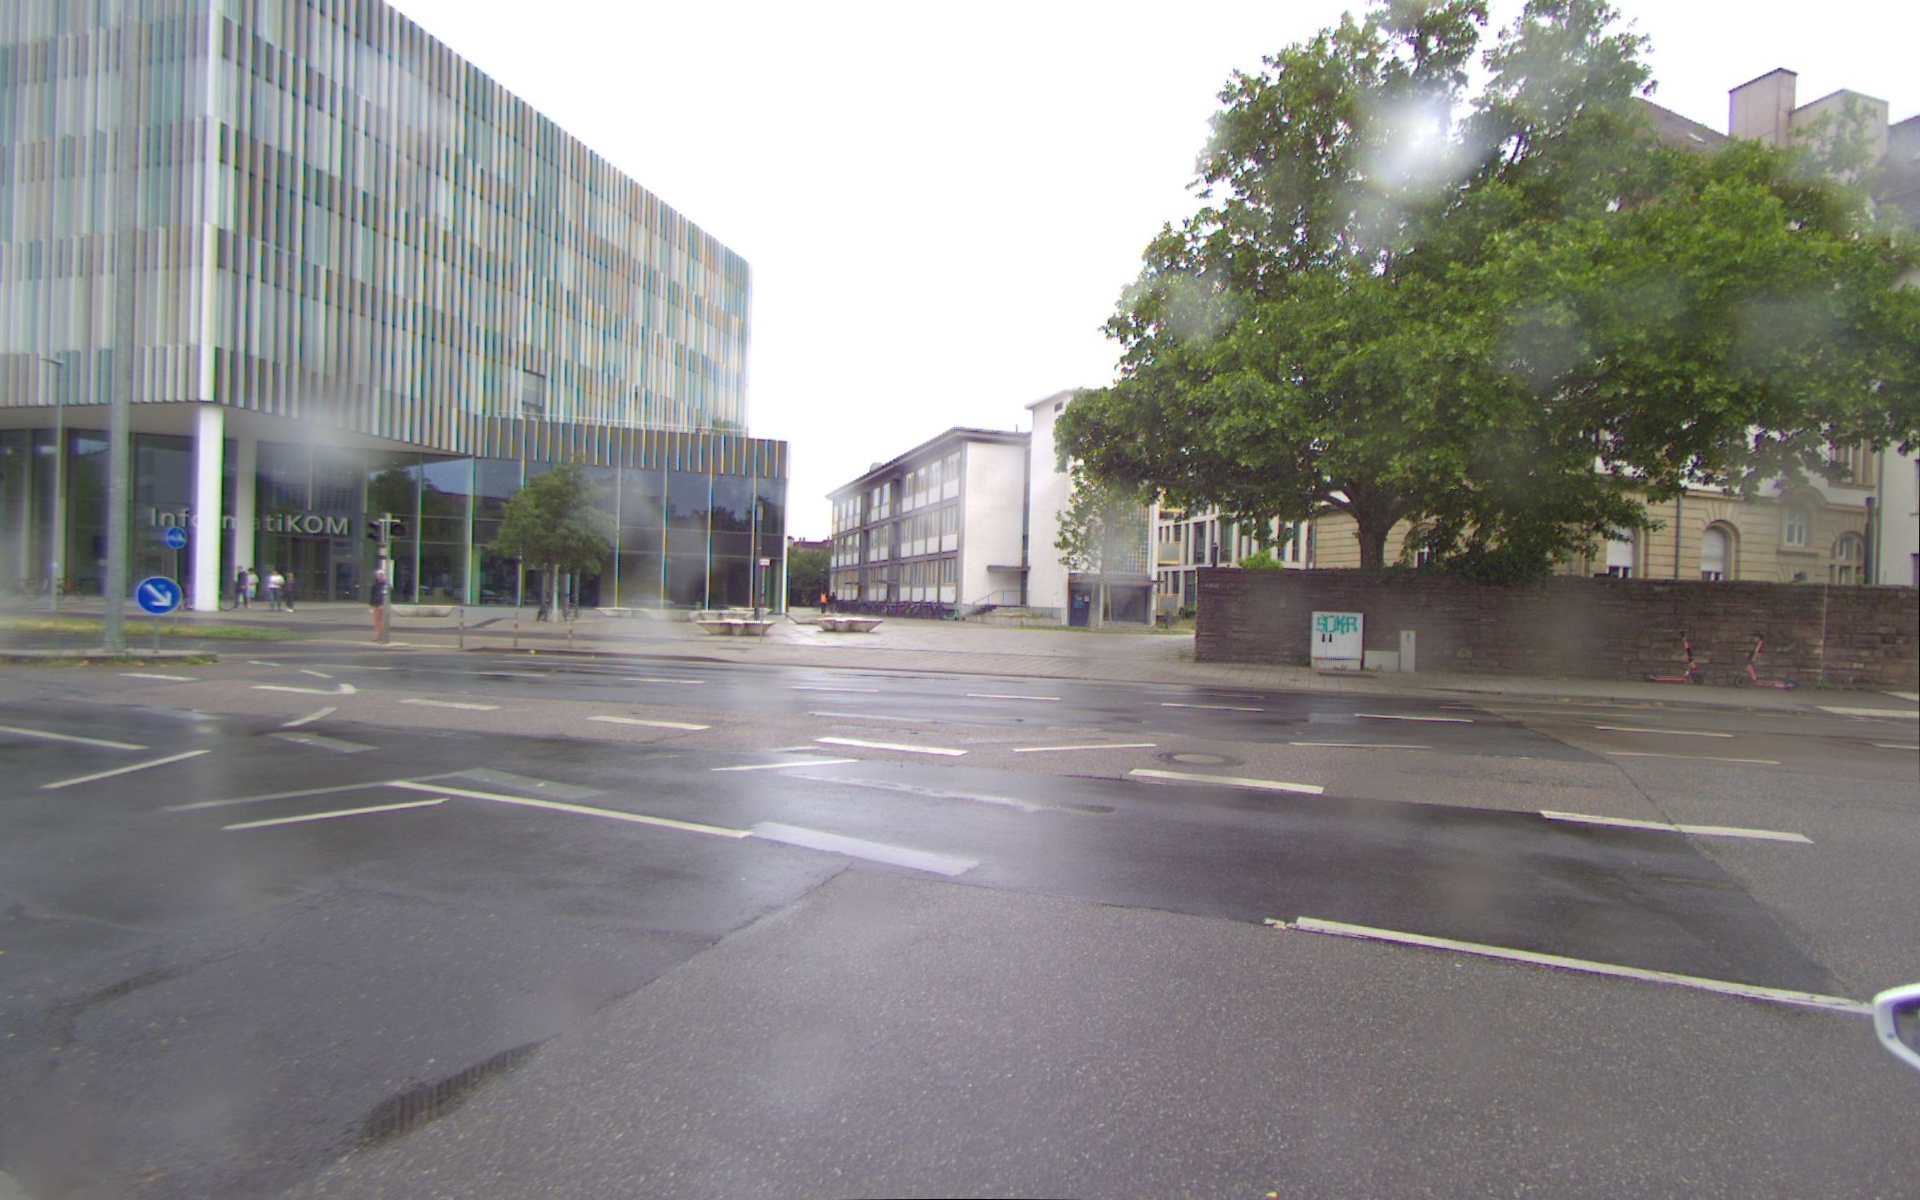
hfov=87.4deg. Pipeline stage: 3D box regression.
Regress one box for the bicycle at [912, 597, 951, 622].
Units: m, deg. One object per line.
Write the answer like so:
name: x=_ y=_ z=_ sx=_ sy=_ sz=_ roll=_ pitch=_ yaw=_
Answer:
bicycle: x=-1.697 y=0.573 z=60.263 sx=2.226 sy=1.384 sz=0.764 roll=2 pitch=0 yaw=-13

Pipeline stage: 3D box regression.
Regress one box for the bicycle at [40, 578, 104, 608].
bicycle: x=-38.925 y=-0.296 z=44.084 sx=0.587 sy=1.238 sz=2.287 roll=2 pitch=0 yaw=6

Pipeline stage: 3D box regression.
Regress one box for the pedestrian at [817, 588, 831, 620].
pedestrian: x=-8.890 y=0.244 z=65.638 sx=0.889 sy=2.040 sz=0.844 roll=2 pitch=0 yaw=-9

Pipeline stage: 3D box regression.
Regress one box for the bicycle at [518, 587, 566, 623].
bicycle: x=-15.234 y=0.190 z=36.672 sx=0.587 sy=1.238 sz=2.287 roll=2 pitch=0 yaw=6

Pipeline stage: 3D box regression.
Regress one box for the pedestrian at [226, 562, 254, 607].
pedestrian: x=-30.179 y=-0.646 z=42.119 sx=0.613 sy=1.848 sz=0.786 roll=2 pitch=0 yaw=-5

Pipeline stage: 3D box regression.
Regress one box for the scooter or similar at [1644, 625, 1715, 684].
scooter or similar: x=15.860 y=1.190 z=22.168 sx=1.119 sy=1.214 sz=0.392 roll=2 pitch=7 yaw=14

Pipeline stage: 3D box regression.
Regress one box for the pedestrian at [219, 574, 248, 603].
pedestrian: x=-29.751 y=-0.481 z=41.138 sx=0.771 sy=1.168 sz=0.625 roll=2 pitch=0 yaw=21

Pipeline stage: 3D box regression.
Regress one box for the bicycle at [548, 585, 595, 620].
bicycle: x=-14.189 y=0.103 z=36.767 sx=0.587 sy=1.238 sz=2.287 roll=2 pitch=0 yaw=6

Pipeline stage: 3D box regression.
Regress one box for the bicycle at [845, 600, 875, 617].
bicycle: x=-7.844 y=0.662 z=78.537 sx=2.226 sy=1.183 sz=0.764 roll=2 pitch=0 yaw=-13

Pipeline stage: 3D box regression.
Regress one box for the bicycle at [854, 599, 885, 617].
bicycle: x=-6.884 y=0.606 z=76.089 sx=2.226 sy=1.329 sz=0.764 roll=2 pitch=0 yaw=-13

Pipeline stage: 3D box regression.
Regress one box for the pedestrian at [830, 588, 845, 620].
pedestrian: x=-8.002 y=0.272 z=65.781 sx=0.889 sy=2.040 sz=0.844 roll=2 pitch=0 yaw=-9

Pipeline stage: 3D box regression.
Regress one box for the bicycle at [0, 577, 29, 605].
bicycle: x=-42.176 y=-0.395 z=43.942 sx=0.587 sy=1.238 sz=2.287 roll=2 pitch=0 yaw=6

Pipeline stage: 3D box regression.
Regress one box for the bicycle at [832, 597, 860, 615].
bicycle: x=-9.700 y=0.520 z=85.292 sx=2.226 sy=1.420 sz=0.764 roll=2 pitch=0 yaw=-13

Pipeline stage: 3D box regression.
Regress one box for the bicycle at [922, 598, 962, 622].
bicycle: x=-1.065 y=0.587 z=59.126 sx=2.226 sy=1.384 sz=0.764 roll=2 pitch=0 yaw=-13

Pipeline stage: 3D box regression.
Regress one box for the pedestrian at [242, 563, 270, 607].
pedestrian: x=-30.279 y=-0.644 z=43.216 sx=0.613 sy=1.848 sz=0.786 roll=2 pitch=0 yaw=-5

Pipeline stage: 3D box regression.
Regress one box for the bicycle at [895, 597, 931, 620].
bicycle: x=-3.003 y=0.553 z=64.190 sx=2.226 sy=1.384 sz=0.764 roll=2 pitch=0 yaw=-13

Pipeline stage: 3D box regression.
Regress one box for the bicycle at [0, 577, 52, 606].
bicycle: x=-41.071 y=-0.362 z=43.873 sx=0.587 sy=1.238 sz=2.287 roll=2 pitch=0 yaw=6

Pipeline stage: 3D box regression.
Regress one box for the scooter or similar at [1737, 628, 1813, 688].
scooter or similar: x=17.556 y=1.244 z=21.661 sx=1.119 sy=1.214 sz=0.392 roll=2 pitch=7 yaw=12

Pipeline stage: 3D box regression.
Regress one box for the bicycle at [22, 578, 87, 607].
bicycle: x=-39.600 y=-0.317 z=43.952 sx=0.587 sy=1.238 sz=2.287 roll=2 pitch=0 yaw=6

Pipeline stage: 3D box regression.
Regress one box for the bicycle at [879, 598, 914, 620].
bicycle: x=-4.309 y=0.618 z=68.146 sx=2.226 sy=1.384 sz=0.764 roll=2 pitch=0 yaw=-13

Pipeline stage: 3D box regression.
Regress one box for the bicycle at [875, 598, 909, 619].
bicycle: x=-4.671 y=0.585 z=69.133 sx=2.226 sy=1.438 sz=0.764 roll=2 pitch=0 yaw=-13

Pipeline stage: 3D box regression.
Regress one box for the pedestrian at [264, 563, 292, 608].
pedestrian: x=-28.242 y=-0.590 z=41.624 sx=0.613 sy=1.848 sz=0.786 roll=2 pitch=0 yaw=-5

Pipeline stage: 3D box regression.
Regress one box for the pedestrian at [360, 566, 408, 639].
pedestrian: x=-15.079 y=0.069 z=26.325 sx=0.781 sy=1.848 sz=0.786 roll=2 pitch=0 yaw=-5

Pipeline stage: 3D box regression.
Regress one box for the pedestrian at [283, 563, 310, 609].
pedestrian: x=-27.391 y=-0.565 z=41.469 sx=0.613 sy=1.848 sz=0.786 roll=2 pitch=0 yaw=-5

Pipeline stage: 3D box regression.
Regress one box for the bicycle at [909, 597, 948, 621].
bicycle: x=-1.930 y=0.570 z=61.139 sx=2.226 sy=1.384 sz=0.764 roll=2 pitch=0 yaw=-13

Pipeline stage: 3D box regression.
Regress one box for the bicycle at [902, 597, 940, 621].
bicycle: x=-2.411 y=0.561 z=62.285 sx=2.226 sy=1.384 sz=0.764 roll=2 pitch=0 yaw=-13

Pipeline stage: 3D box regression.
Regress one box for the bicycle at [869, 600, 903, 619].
bicycle: x=-5.213 y=0.649 z=70.615 sx=2.226 sy=1.292 sz=0.764 roll=2 pitch=0 yaw=-13
